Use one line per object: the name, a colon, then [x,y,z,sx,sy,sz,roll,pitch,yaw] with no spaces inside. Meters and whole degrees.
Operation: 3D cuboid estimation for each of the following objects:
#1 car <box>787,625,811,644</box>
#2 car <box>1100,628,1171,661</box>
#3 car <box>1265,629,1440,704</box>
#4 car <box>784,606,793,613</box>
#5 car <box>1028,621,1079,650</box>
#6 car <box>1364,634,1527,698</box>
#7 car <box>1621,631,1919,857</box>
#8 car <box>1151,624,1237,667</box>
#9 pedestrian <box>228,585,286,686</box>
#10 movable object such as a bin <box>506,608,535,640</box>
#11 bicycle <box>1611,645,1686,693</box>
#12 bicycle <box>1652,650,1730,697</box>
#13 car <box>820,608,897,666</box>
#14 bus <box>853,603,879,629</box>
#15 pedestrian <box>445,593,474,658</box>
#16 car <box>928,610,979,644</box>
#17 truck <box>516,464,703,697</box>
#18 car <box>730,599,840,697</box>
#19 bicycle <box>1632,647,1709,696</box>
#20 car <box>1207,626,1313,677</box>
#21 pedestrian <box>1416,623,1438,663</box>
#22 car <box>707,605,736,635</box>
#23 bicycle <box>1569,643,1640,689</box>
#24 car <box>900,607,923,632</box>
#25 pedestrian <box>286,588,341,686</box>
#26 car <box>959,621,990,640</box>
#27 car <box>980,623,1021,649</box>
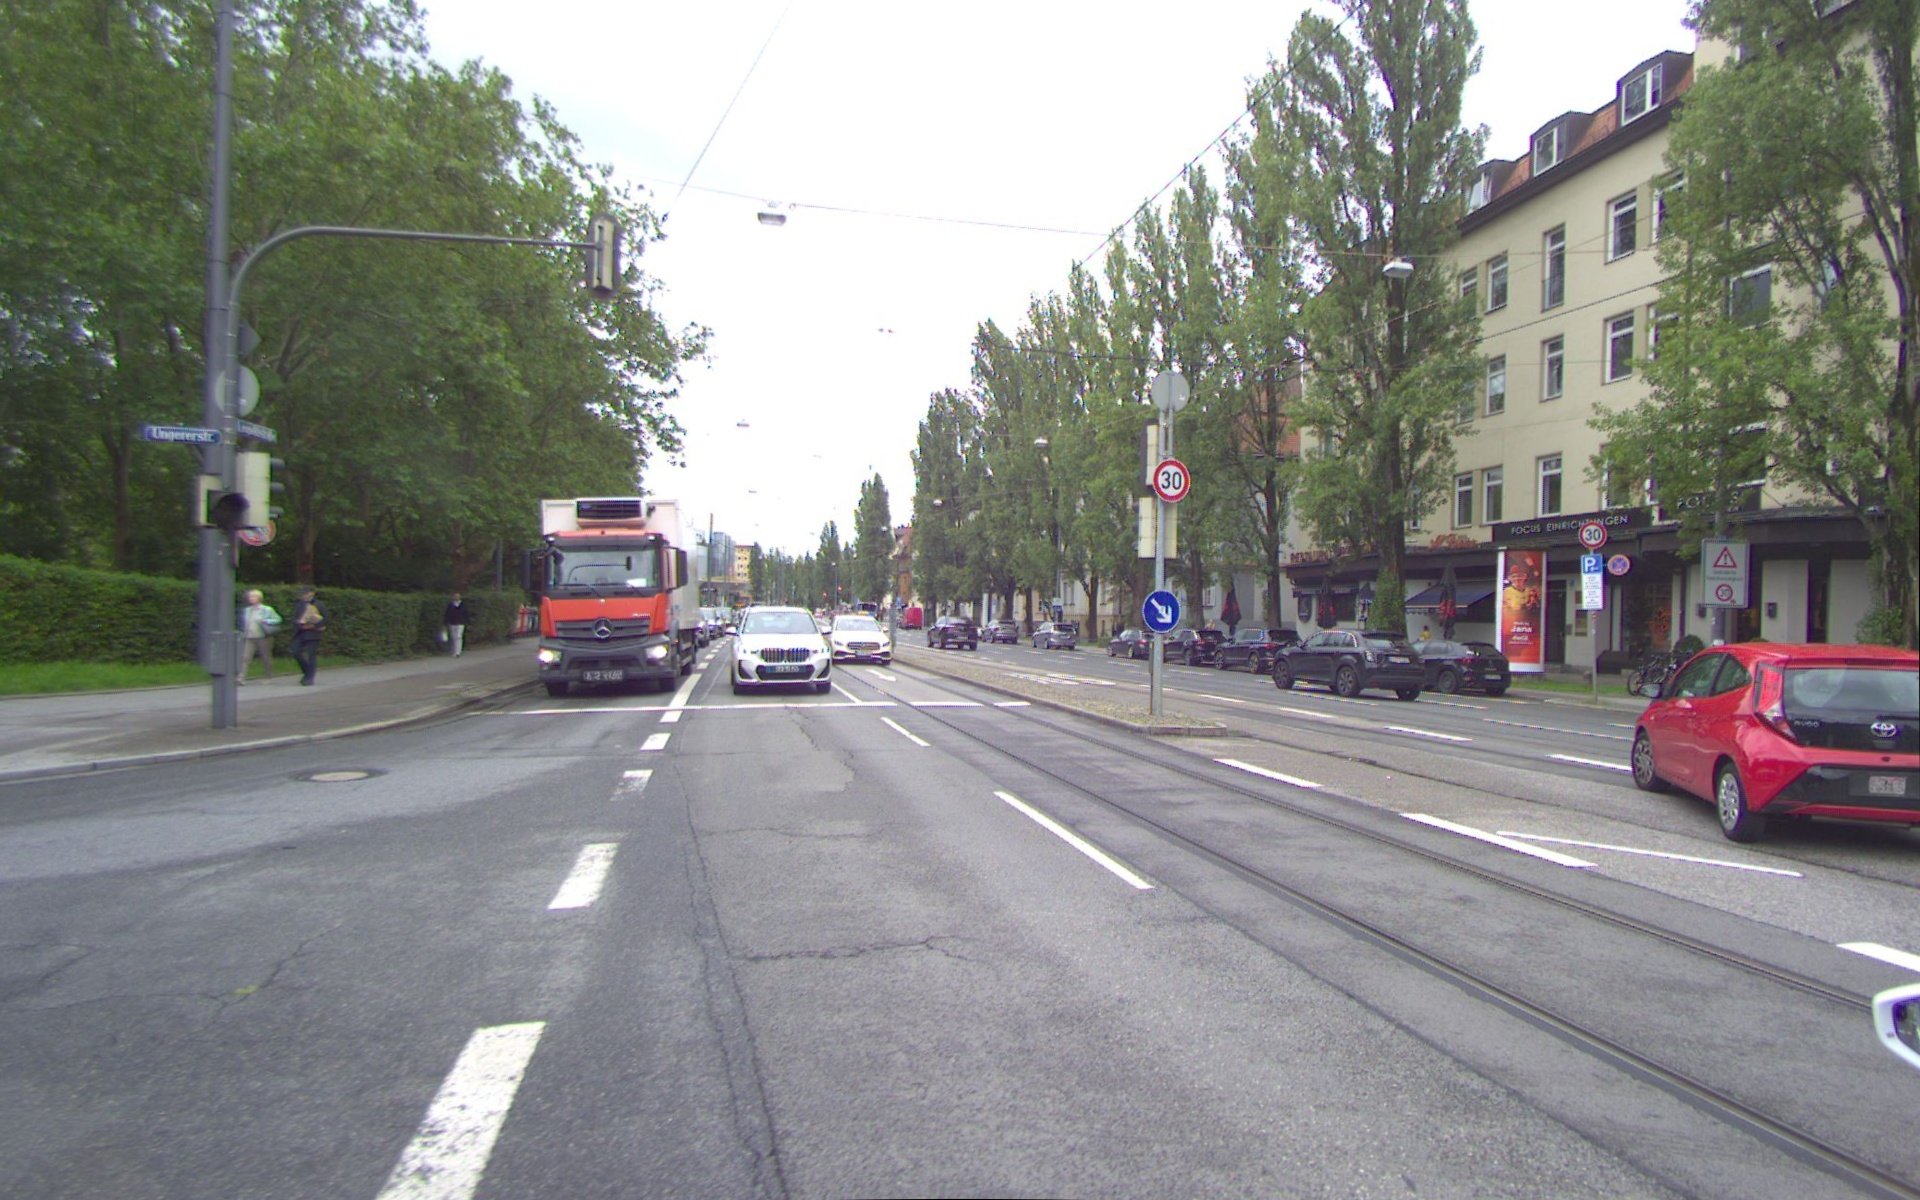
car: [-13.479,2.855,83.992,1.773,1.543,4.346,1,-1,-11]
car: [8.269,2.091,47.709,1.774,1.417,4.371,1,-1,-13]
car: [8.925,1.466,23.224,1.757,1.505,3.989,2,-1,-14]
car: [-35.510,1.966,208.001,1.755,1.505,3.992,2,-1,-11]
car: [5.579,2.128,60.552,1.774,1.633,4.536,1,-1,-13]
car: [13.074,1.743,27.335,1.776,1.485,3.987,2,-1,-16]
car: [6.873,1.039,8.333,1.602,1.459,3.376,2,-1,21]
car: [9.672,1.860,41.872,1.774,1.633,4.295,1,-1,-13]
pedestrian: [-12.057,0.606,17.249,0.676,1.685,0.551,2,-1,-25]
movable object such as a bin: [-19.824,1.076,45.317,0.922,1.371,1.274,3,-1,-16]
bicycle: [17.750,1.782,25.897,1.858,1.201,0.495,2,-1,-16]
bicycle: [17.978,1.811,24.690,1.858,1.096,0.495,2,-1,-16]
car: [-3.311,1.123,31.931,1.797,1.660,4.878,2,-1,-13]
bus: [-14.471,2.366,153.632,2.864,3.441,10.781,2,1,-11]
pedestrian: [-14.367,0.737,28.837,0.676,1.834,0.657,2,-1,-25]
car: [-0.384,1.330,50.247,1.711,1.569,4.566,1,-1,-12]
truck: [-7.603,-0.243,23.389,2.701,4.033,11.688,0,-1,-12]
car: [-3.651,0.897,20.254,1.888,1.705,4.878,2,-1,-13]
bicycle: [17.820,1.792,25.194,1.858,1.201,0.495,2,-1,-16]
car: [10.768,1.814,36.414,1.697,1.633,4.460,1,-1,-13]
pedestrian: [18.967,1.753,40.763,0.564,1.583,0.494,2,1,-12]
car: [-17.134,1.435,72.250,1.773,2.017,5.029,1,-1,-11]
bicycle: [17.479,1.783,27.228,1.858,1.201,0.495,2,-1,-16]
car: [-5.717,2.258,117.521,1.965,2.609,4.669,2,1,-11]
pedestrian: [-11.321,0.643,17.609,0.676,1.685,0.657,2,-1,-25]
car: [1.185,2.523,83.469,1.773,1.528,3.992,2,-1,-11]
car: [2.920,2.618,73.383,1.774,1.766,4.689,1,-1,-13]
